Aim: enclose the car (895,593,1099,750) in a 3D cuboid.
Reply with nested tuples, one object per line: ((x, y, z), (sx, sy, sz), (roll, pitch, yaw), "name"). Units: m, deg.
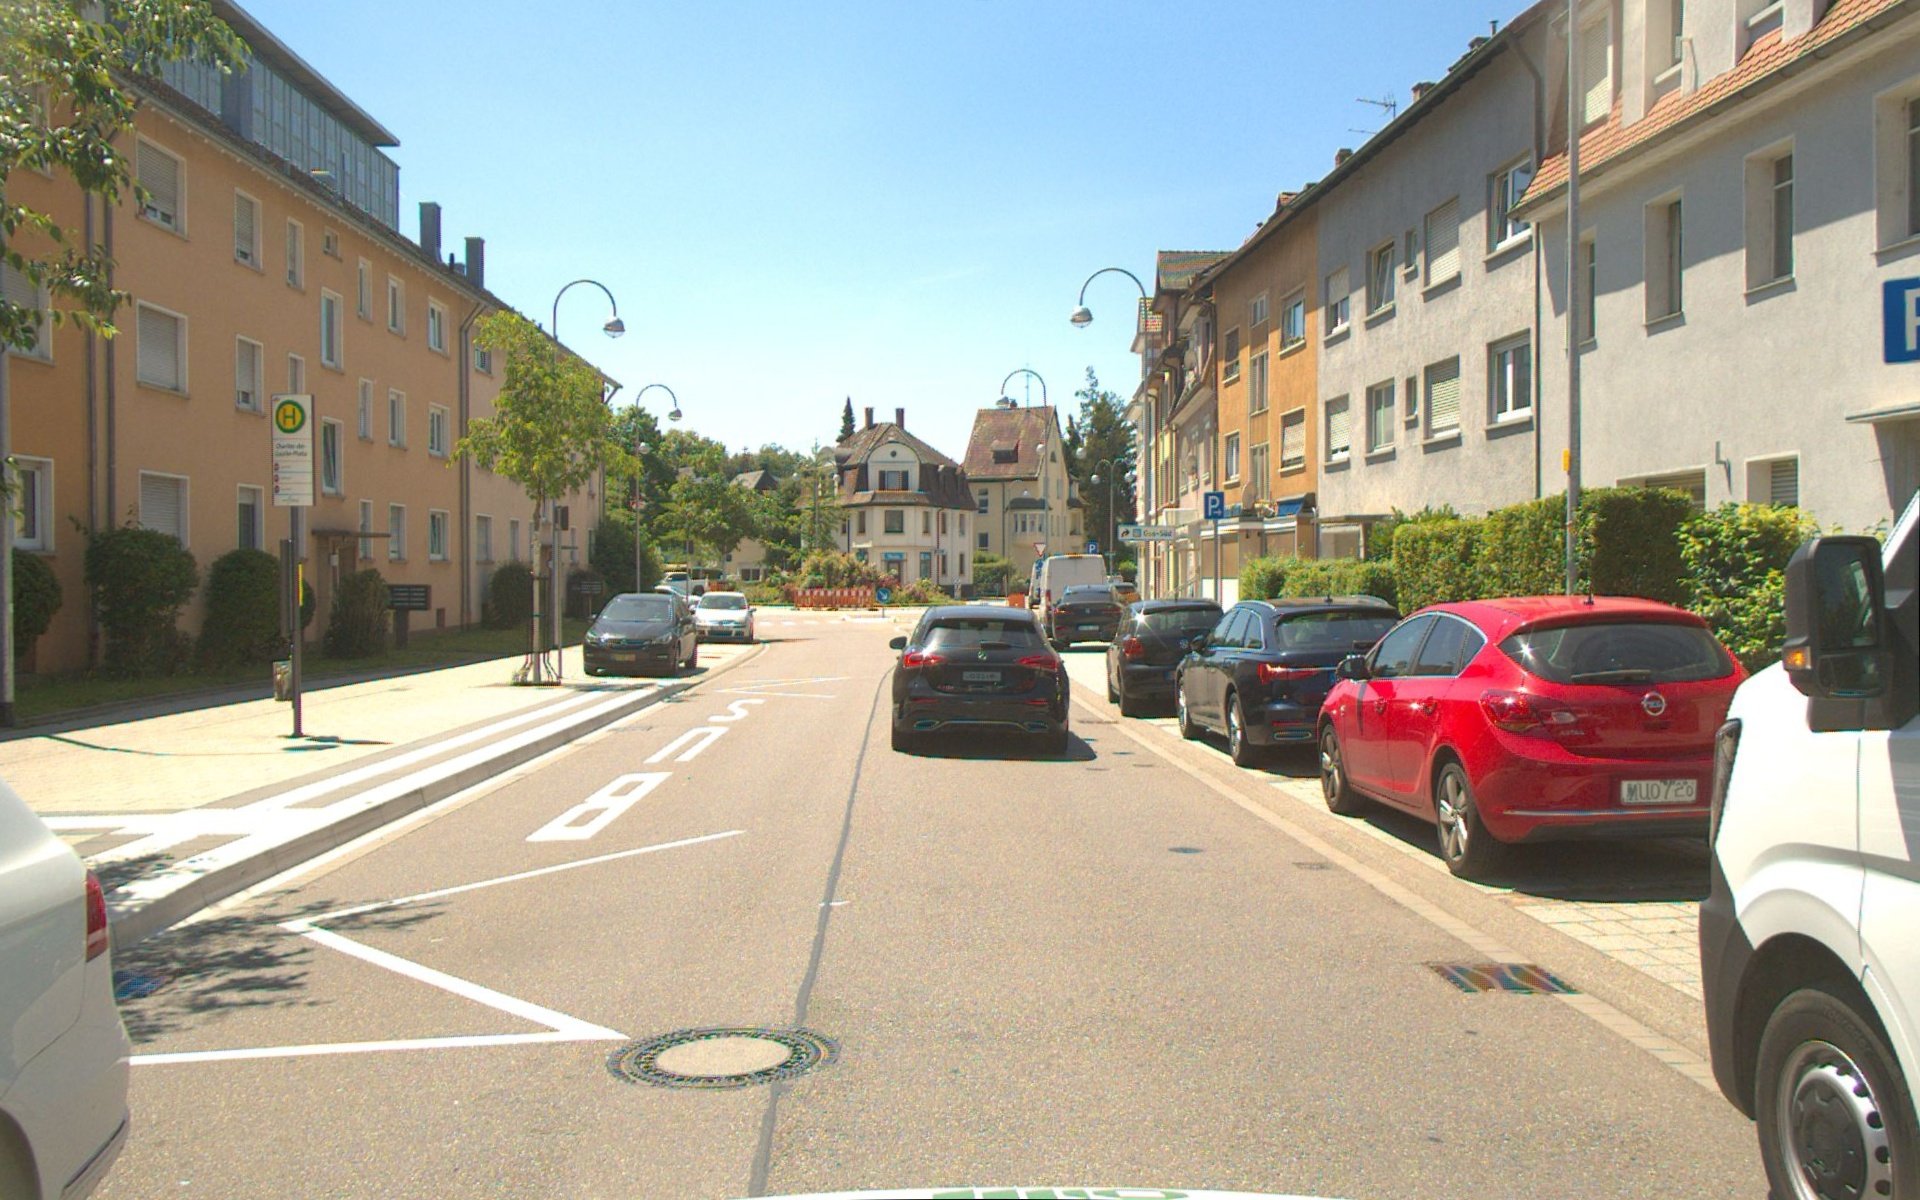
((0.320, 0.693, 17.617), (1.913, 1.452, 3.999), (1, 0, -1), "car")

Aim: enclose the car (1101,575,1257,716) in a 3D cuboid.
((2.896, 0.533, 22.608), (1.692, 1.661, 4.002), (-3, 1, 2), "car")

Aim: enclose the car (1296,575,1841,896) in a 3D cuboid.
((3.518, 0.656, 10.470), (1.767, 1.556, 4.149), (-2, 1, -2), "car")

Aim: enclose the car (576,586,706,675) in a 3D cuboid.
((-6.105, 0.528, 32.131), (1.820, 1.533, 4.560), (0, 1, -3), "car")

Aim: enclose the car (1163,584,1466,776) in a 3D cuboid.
((3.298, 0.656, 16.365), (1.767, 1.500, 4.719), (-3, 1, -2), "car")

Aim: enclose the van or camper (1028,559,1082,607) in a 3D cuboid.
((5.399, -0.994, 93.694), (2.159, 2.656, 4.003), (1, 1, 17), "van or camper")

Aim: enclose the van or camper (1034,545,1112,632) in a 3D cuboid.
((3.626, -0.390, 54.218), (2.120, 2.634, 5.766), (-1, 1, 0), "van or camper")

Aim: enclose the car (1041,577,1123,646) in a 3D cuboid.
((3.202, 0.267, 42.765), (1.855, 1.635, 4.368), (-2, 0, 7), "car")

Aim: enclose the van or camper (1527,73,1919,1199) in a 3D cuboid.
((2.847, 0.247, 2.130), (2.065, 2.510, 6.176), (-1, 0, 0), "van or camper")

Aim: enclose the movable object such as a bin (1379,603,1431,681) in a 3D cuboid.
((6.471, 0.608, 24.087), (0.542, 1.104, 0.776), (0, 0, 0), "movable object such as a bin")

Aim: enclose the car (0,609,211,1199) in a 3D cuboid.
((-2.699, 0.834, 1.616), (1.952, 1.533, 4.288), (0, 1, 0), "car")

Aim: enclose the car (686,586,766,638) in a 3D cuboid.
((-6.844, 0.320, 48.745), (1.954, 1.445, 4.086), (0, 0, -3), "car")

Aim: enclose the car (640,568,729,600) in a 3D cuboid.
((-16.797, -0.953, 101.170), (1.963, 1.847, 5.392), (2, 1, 39), "car")
